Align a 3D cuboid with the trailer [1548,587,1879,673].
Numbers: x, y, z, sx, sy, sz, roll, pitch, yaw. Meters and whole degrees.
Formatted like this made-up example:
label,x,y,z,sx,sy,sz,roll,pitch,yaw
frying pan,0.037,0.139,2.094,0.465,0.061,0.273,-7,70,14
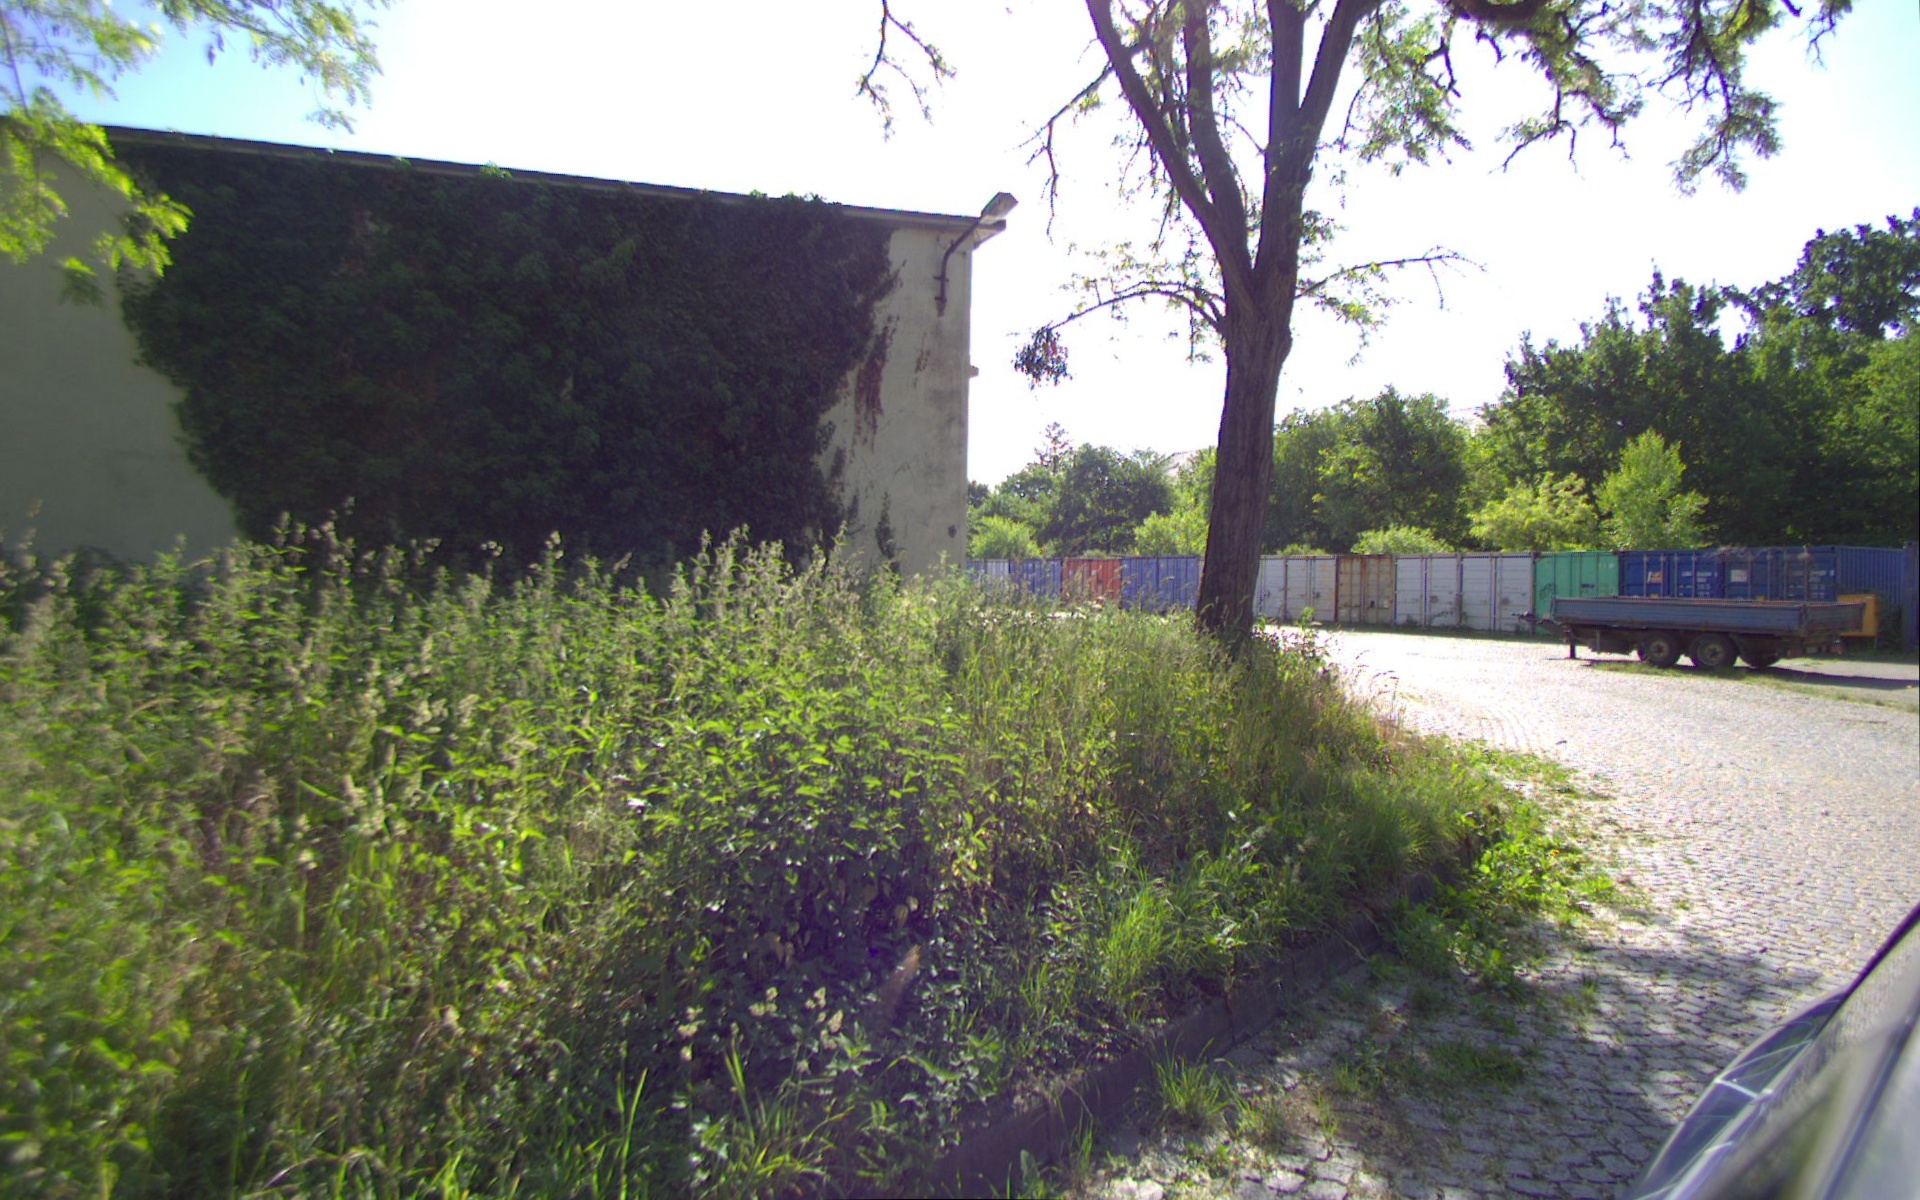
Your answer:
label,x,y,z,sx,sy,sz,roll,pitch,yaw
trailer,15.410,0.503,21.021,2.596,1.432,4.869,0,2,-29
